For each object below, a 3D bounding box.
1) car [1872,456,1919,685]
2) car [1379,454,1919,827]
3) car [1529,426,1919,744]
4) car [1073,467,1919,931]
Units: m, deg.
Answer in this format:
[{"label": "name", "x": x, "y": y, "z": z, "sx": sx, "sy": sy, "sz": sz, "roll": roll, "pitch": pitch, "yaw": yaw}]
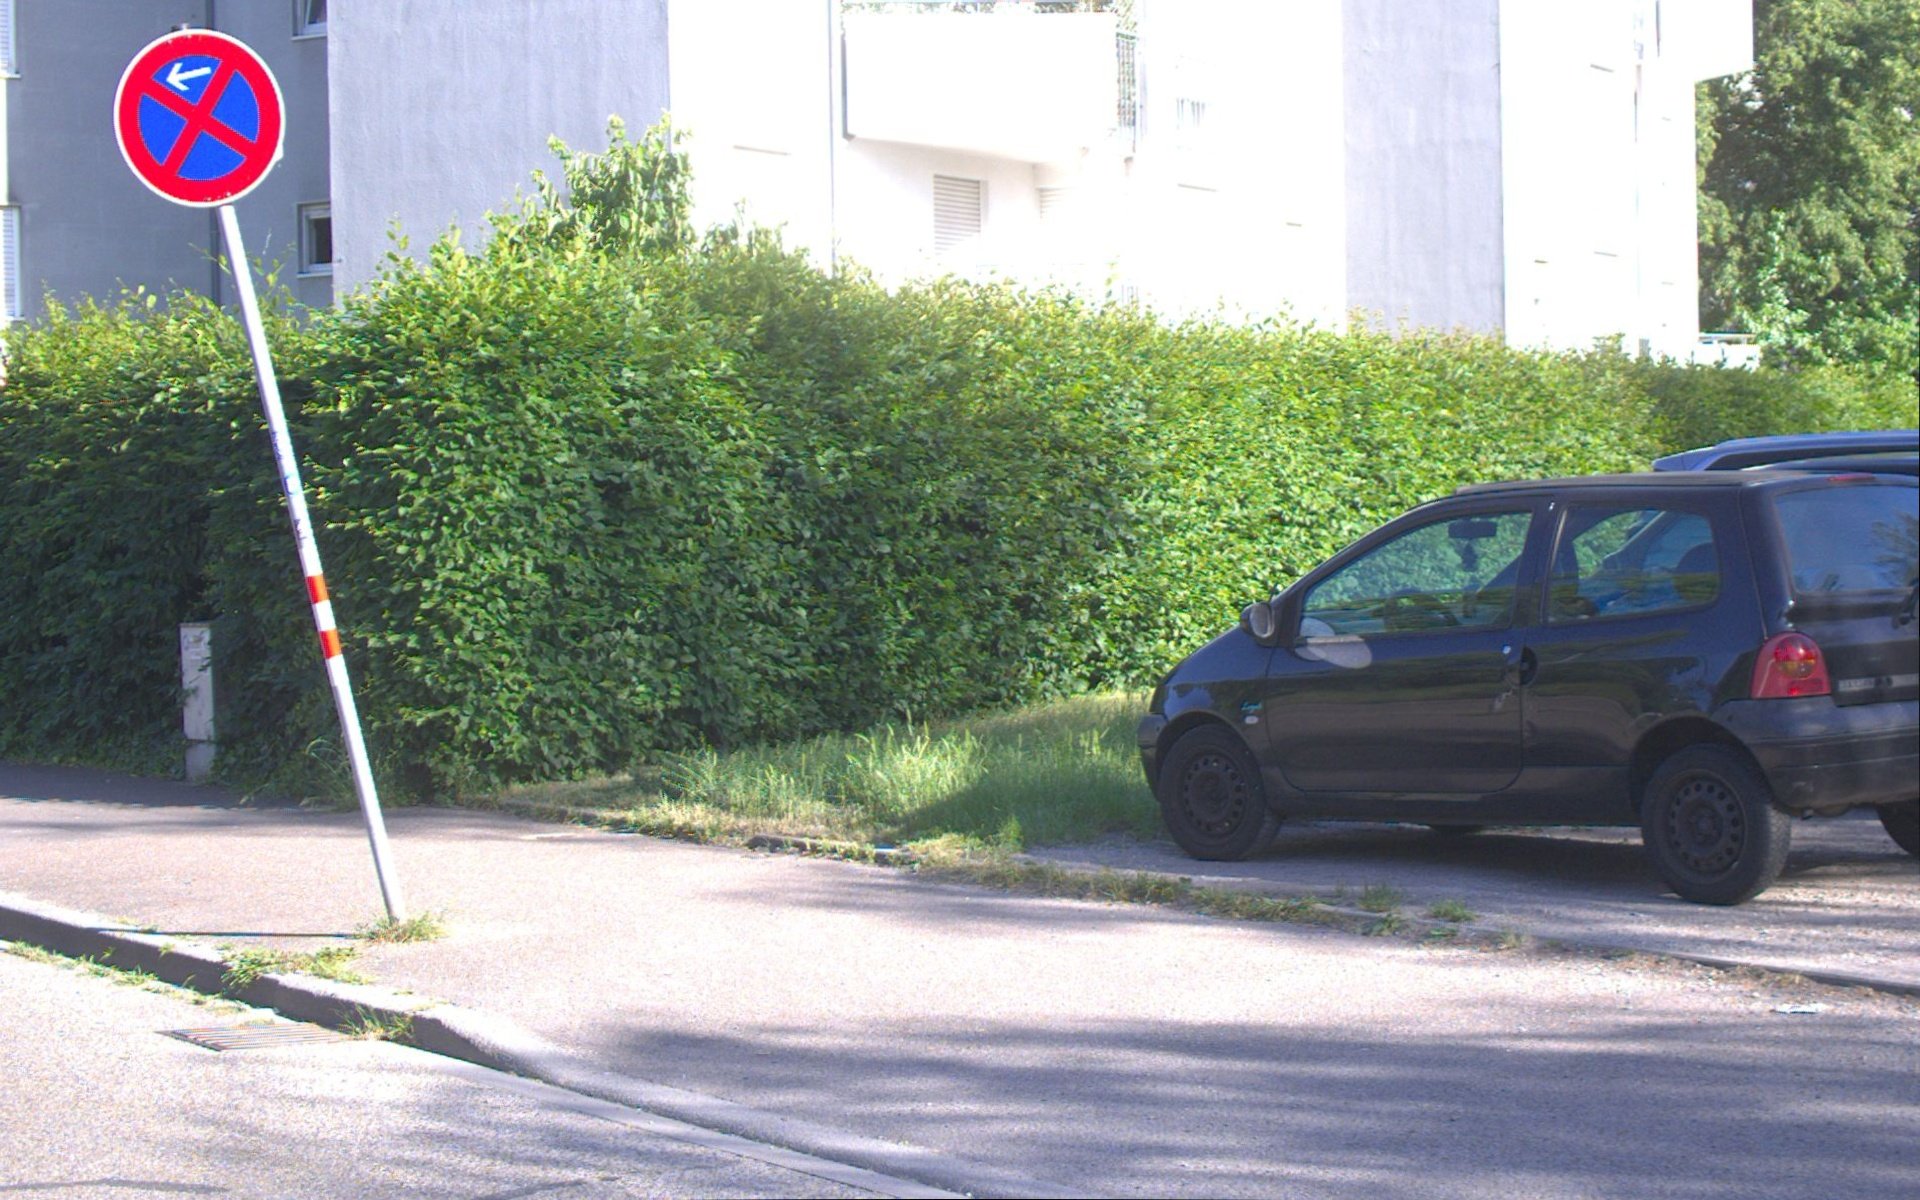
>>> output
[{"label": "car", "x": 8.061, "y": -0.261, "z": 21.675, "sx": 4.150, "sy": 1.450, "sz": 1.617, "roll": -2, "pitch": 1, "yaw": 30}, {"label": "car", "x": 3.809, "y": 0.130, "z": 14.911, "sx": 1.647, "sy": 1.491, "sz": 3.689, "roll": -4, "pitch": 2, "yaw": -44}, {"label": "car", "x": 5.720, "y": -0.123, "z": 18.376, "sx": 5.003, "sy": 1.649, "sz": 1.780, "roll": -1, "pitch": 2, "yaw": 38}, {"label": "car", "x": 2.261, "y": 0.268, "z": 12.921, "sx": 1.699, "sy": 1.461, "sz": 3.532, "roll": -4, "pitch": 3, "yaw": -41}]
